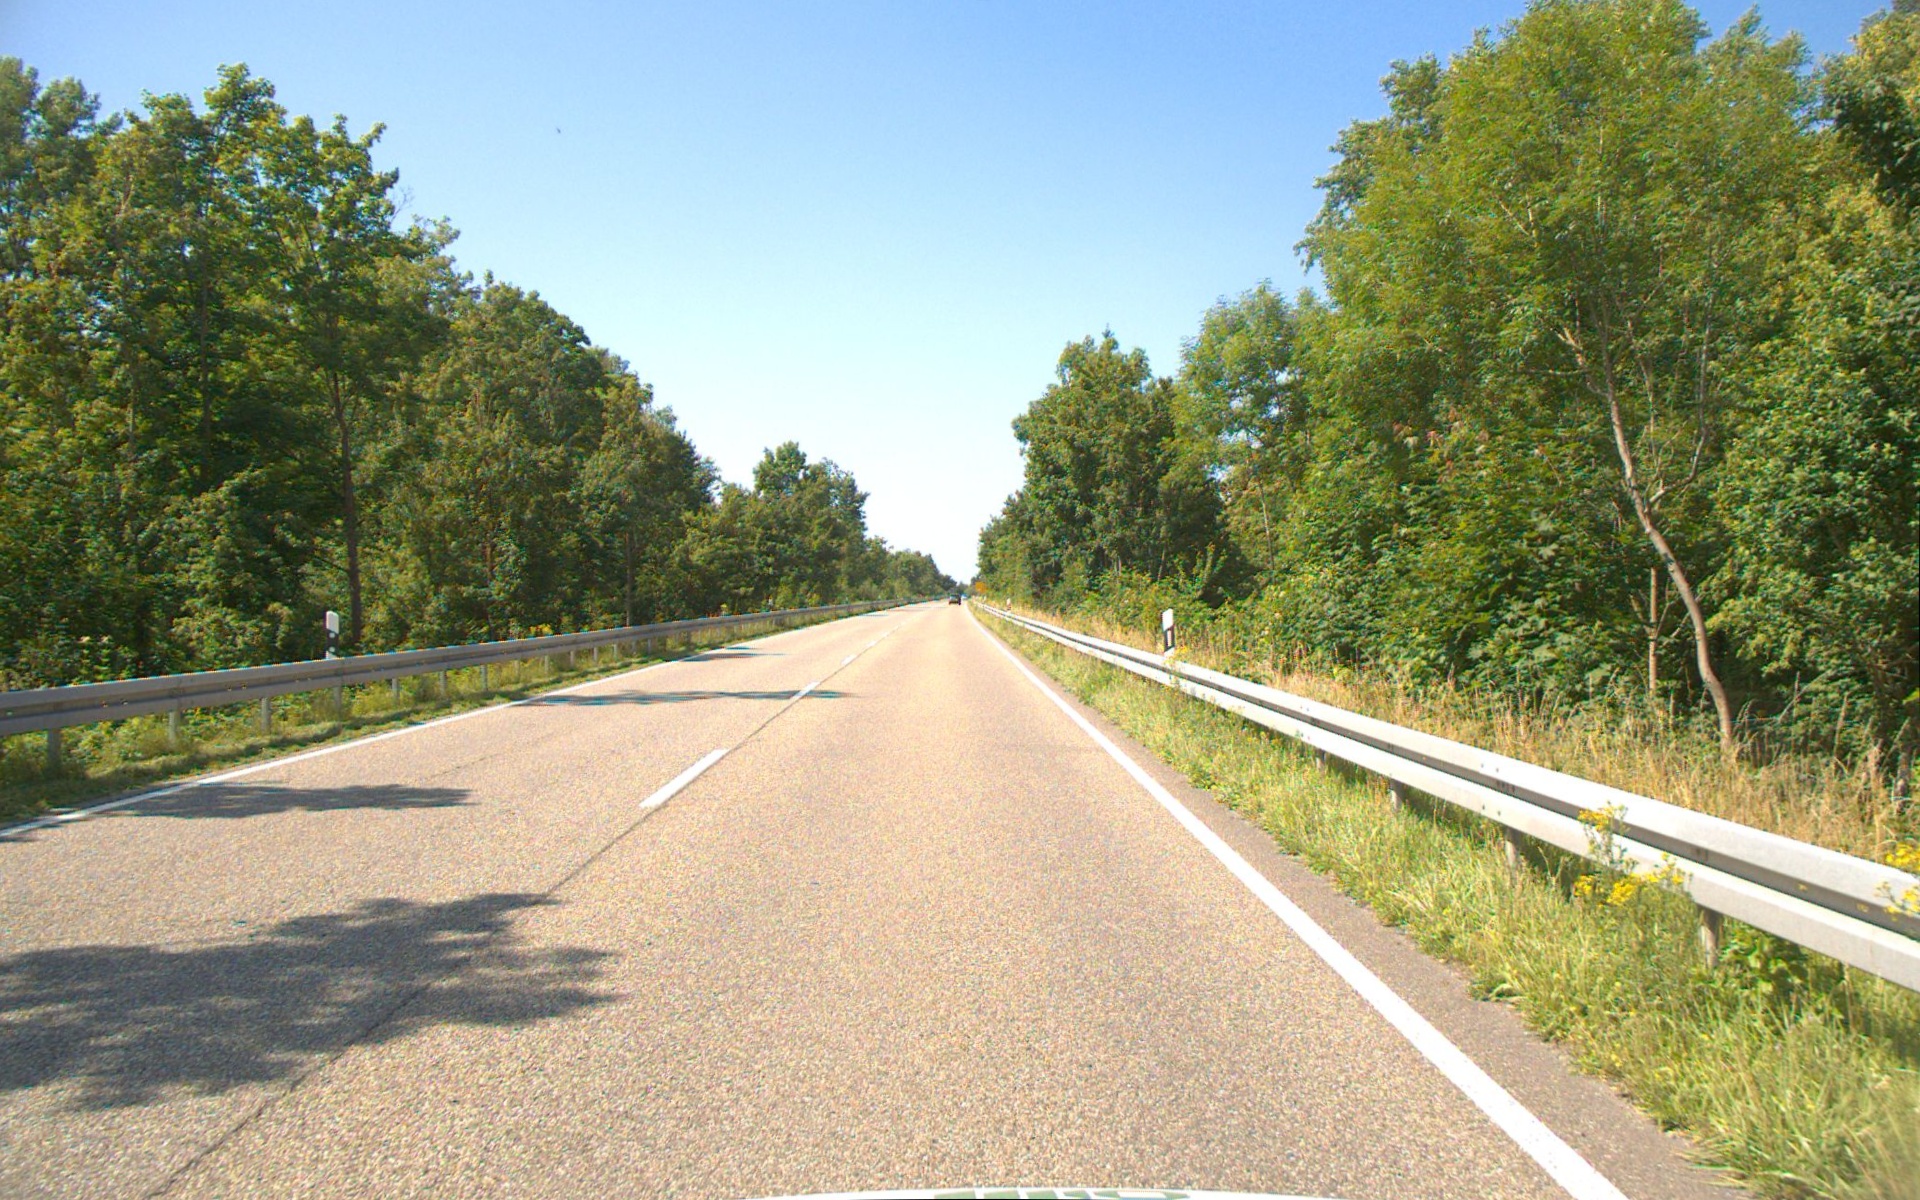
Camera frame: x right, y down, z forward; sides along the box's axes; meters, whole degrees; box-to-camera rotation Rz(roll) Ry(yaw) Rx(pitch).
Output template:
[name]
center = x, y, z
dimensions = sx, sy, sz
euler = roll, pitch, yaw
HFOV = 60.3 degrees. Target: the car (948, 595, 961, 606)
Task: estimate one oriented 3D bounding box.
[car]
center = -0.801, 0.030, 235.767
dimensions = 1.705, 1.496, 3.693
euler = 0, 0, 2
